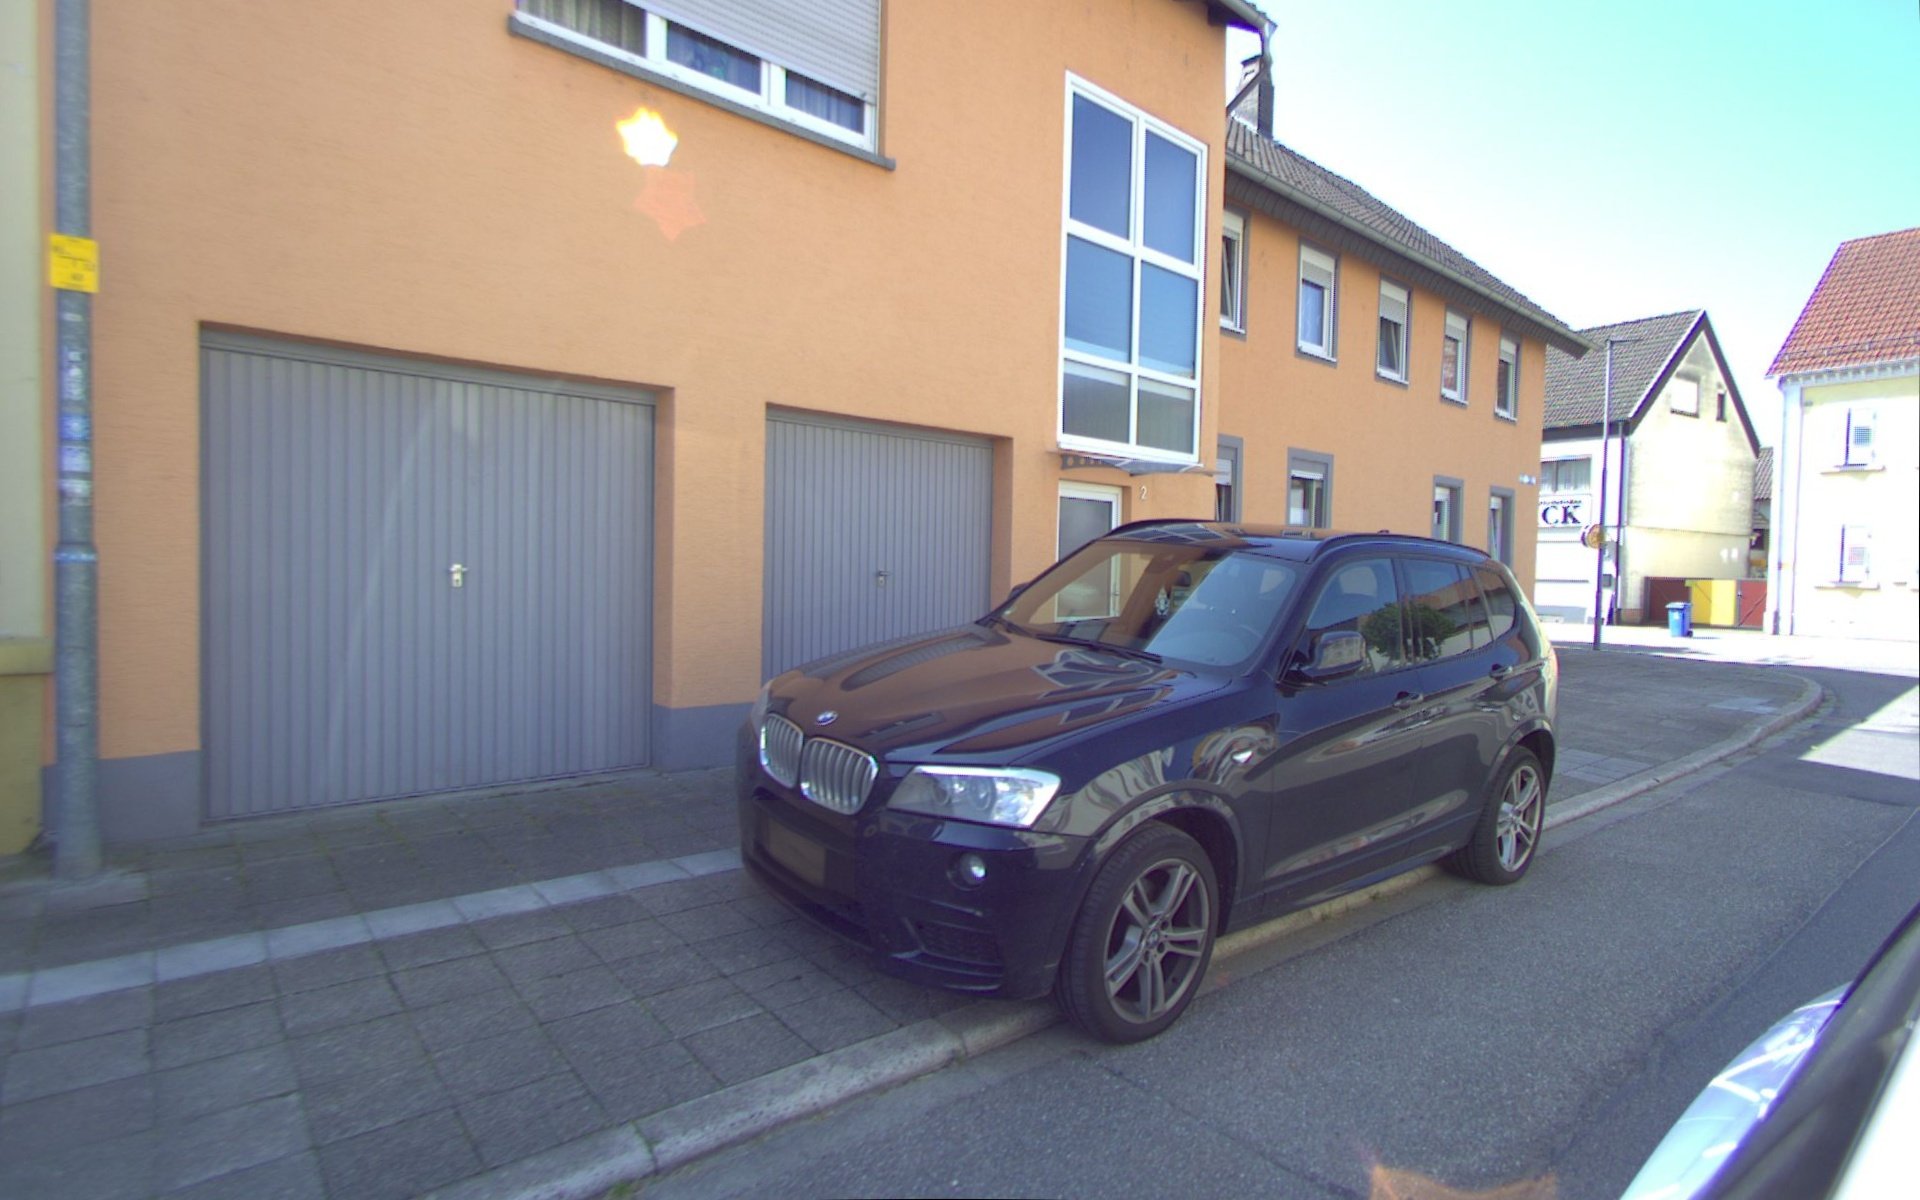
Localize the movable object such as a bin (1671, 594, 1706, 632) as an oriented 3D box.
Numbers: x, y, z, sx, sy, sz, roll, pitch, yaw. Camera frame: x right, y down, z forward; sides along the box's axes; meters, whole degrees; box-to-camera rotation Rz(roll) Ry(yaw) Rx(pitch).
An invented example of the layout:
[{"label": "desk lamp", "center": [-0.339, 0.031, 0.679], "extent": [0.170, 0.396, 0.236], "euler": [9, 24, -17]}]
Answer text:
[{"label": "movable object such as a bin", "center": [20.052, 0.354, 27.845], "extent": [0.633, 0.993, 0.613], "euler": [-1, 2, -39]}]

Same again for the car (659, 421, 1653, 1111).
[{"label": "car", "center": [1.374, 0.355, 4.860], "extent": [5.088, 1.723, 1.849], "euler": [0, 3, -40]}]
